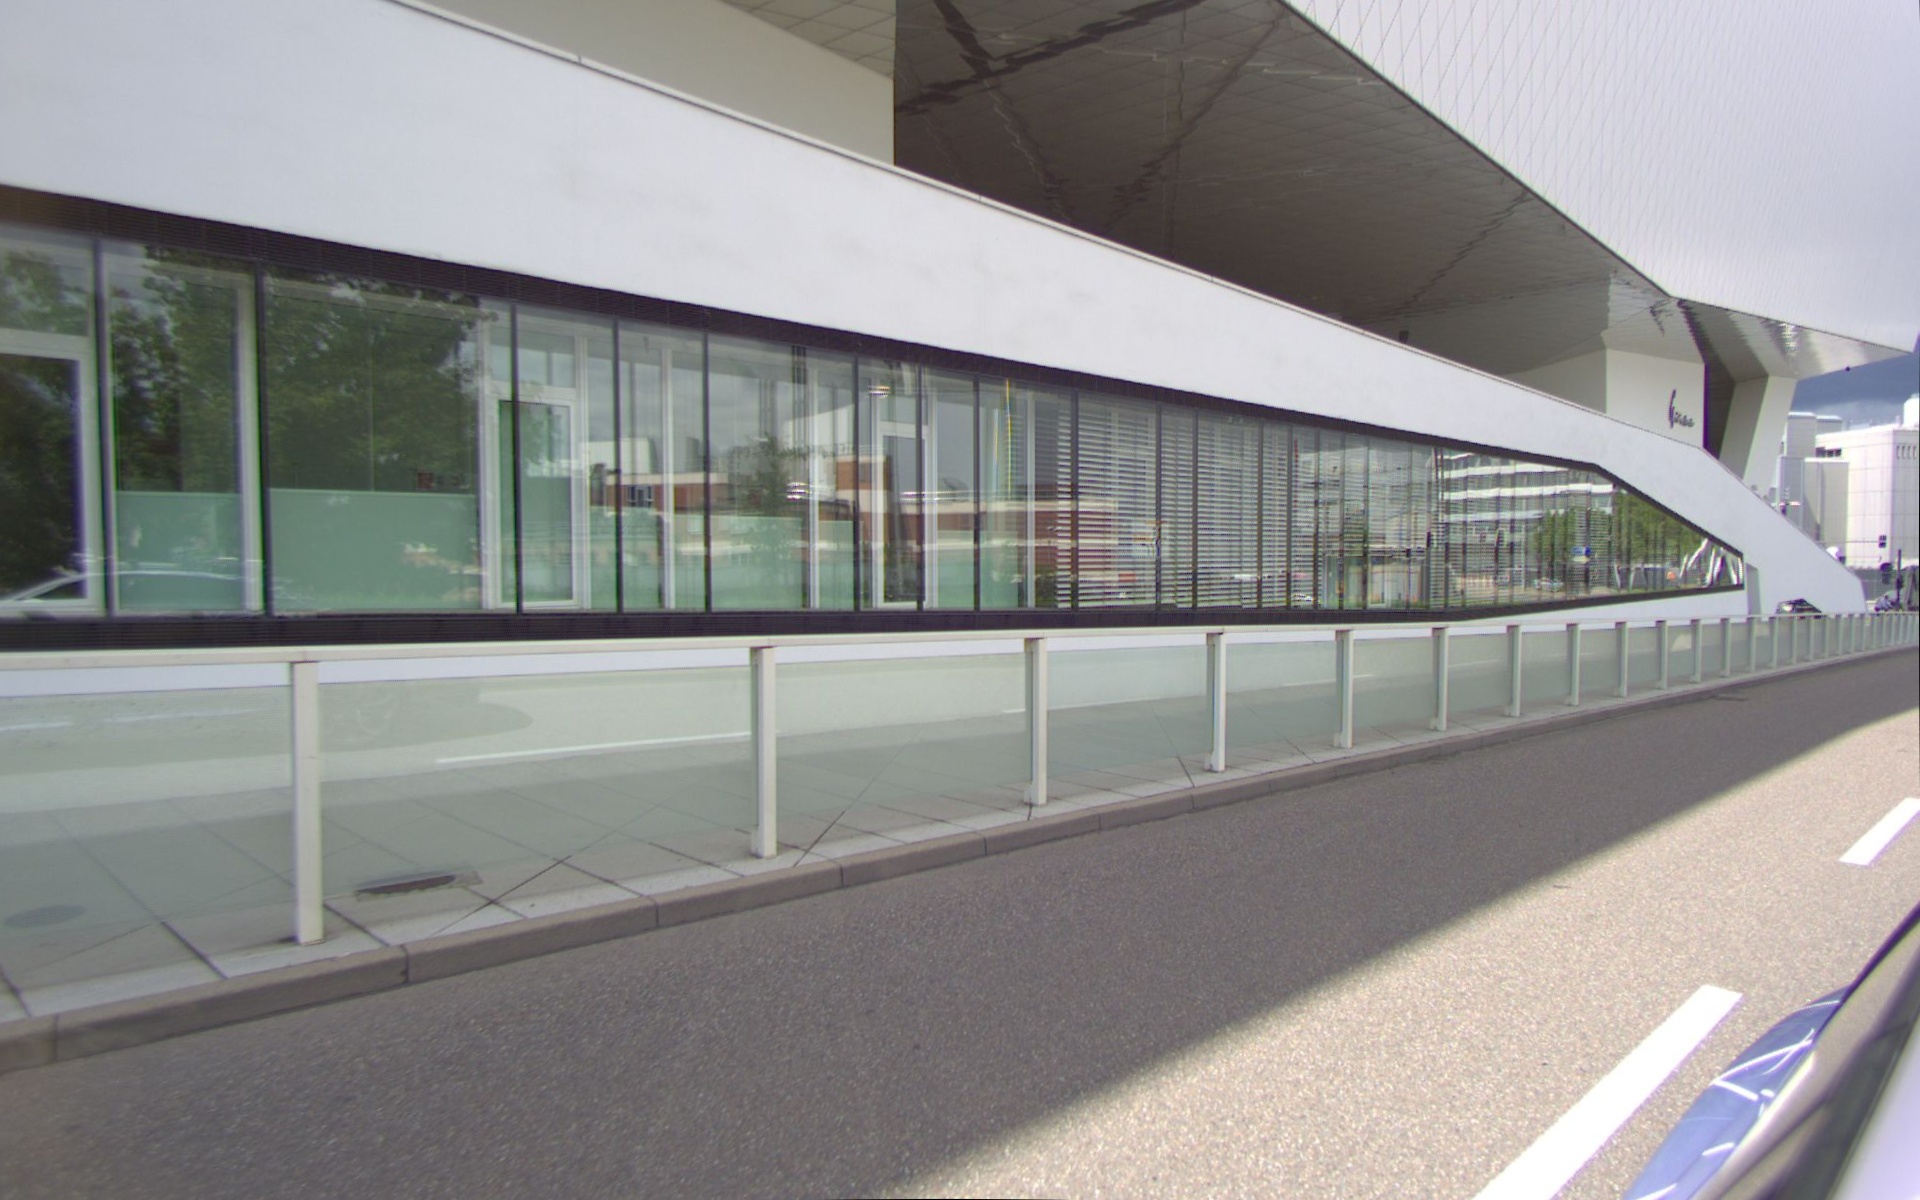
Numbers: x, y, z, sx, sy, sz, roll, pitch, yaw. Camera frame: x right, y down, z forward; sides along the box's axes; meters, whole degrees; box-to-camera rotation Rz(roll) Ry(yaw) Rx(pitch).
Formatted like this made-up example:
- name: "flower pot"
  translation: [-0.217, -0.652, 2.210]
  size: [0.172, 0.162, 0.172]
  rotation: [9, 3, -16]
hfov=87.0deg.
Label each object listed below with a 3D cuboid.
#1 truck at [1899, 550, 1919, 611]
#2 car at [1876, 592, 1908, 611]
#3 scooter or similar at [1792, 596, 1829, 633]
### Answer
- name: "truck"
  translation: [59.110, -1.079, 59.347]
  size: [2.817, 3.736, 10.659]
  rotation: [2, 2, 26]
- name: "car"
  translation: [81.498, 0.091, 88.503]
  size: [3.934, 1.583, 1.828]
  rotation: [-1, 2, -44]
- name: "scooter or similar"
  translation: [30.276, 0.510, 36.019]
  size: [1.918, 1.258, 0.707]
  rotation: [-1, 2, -41]
